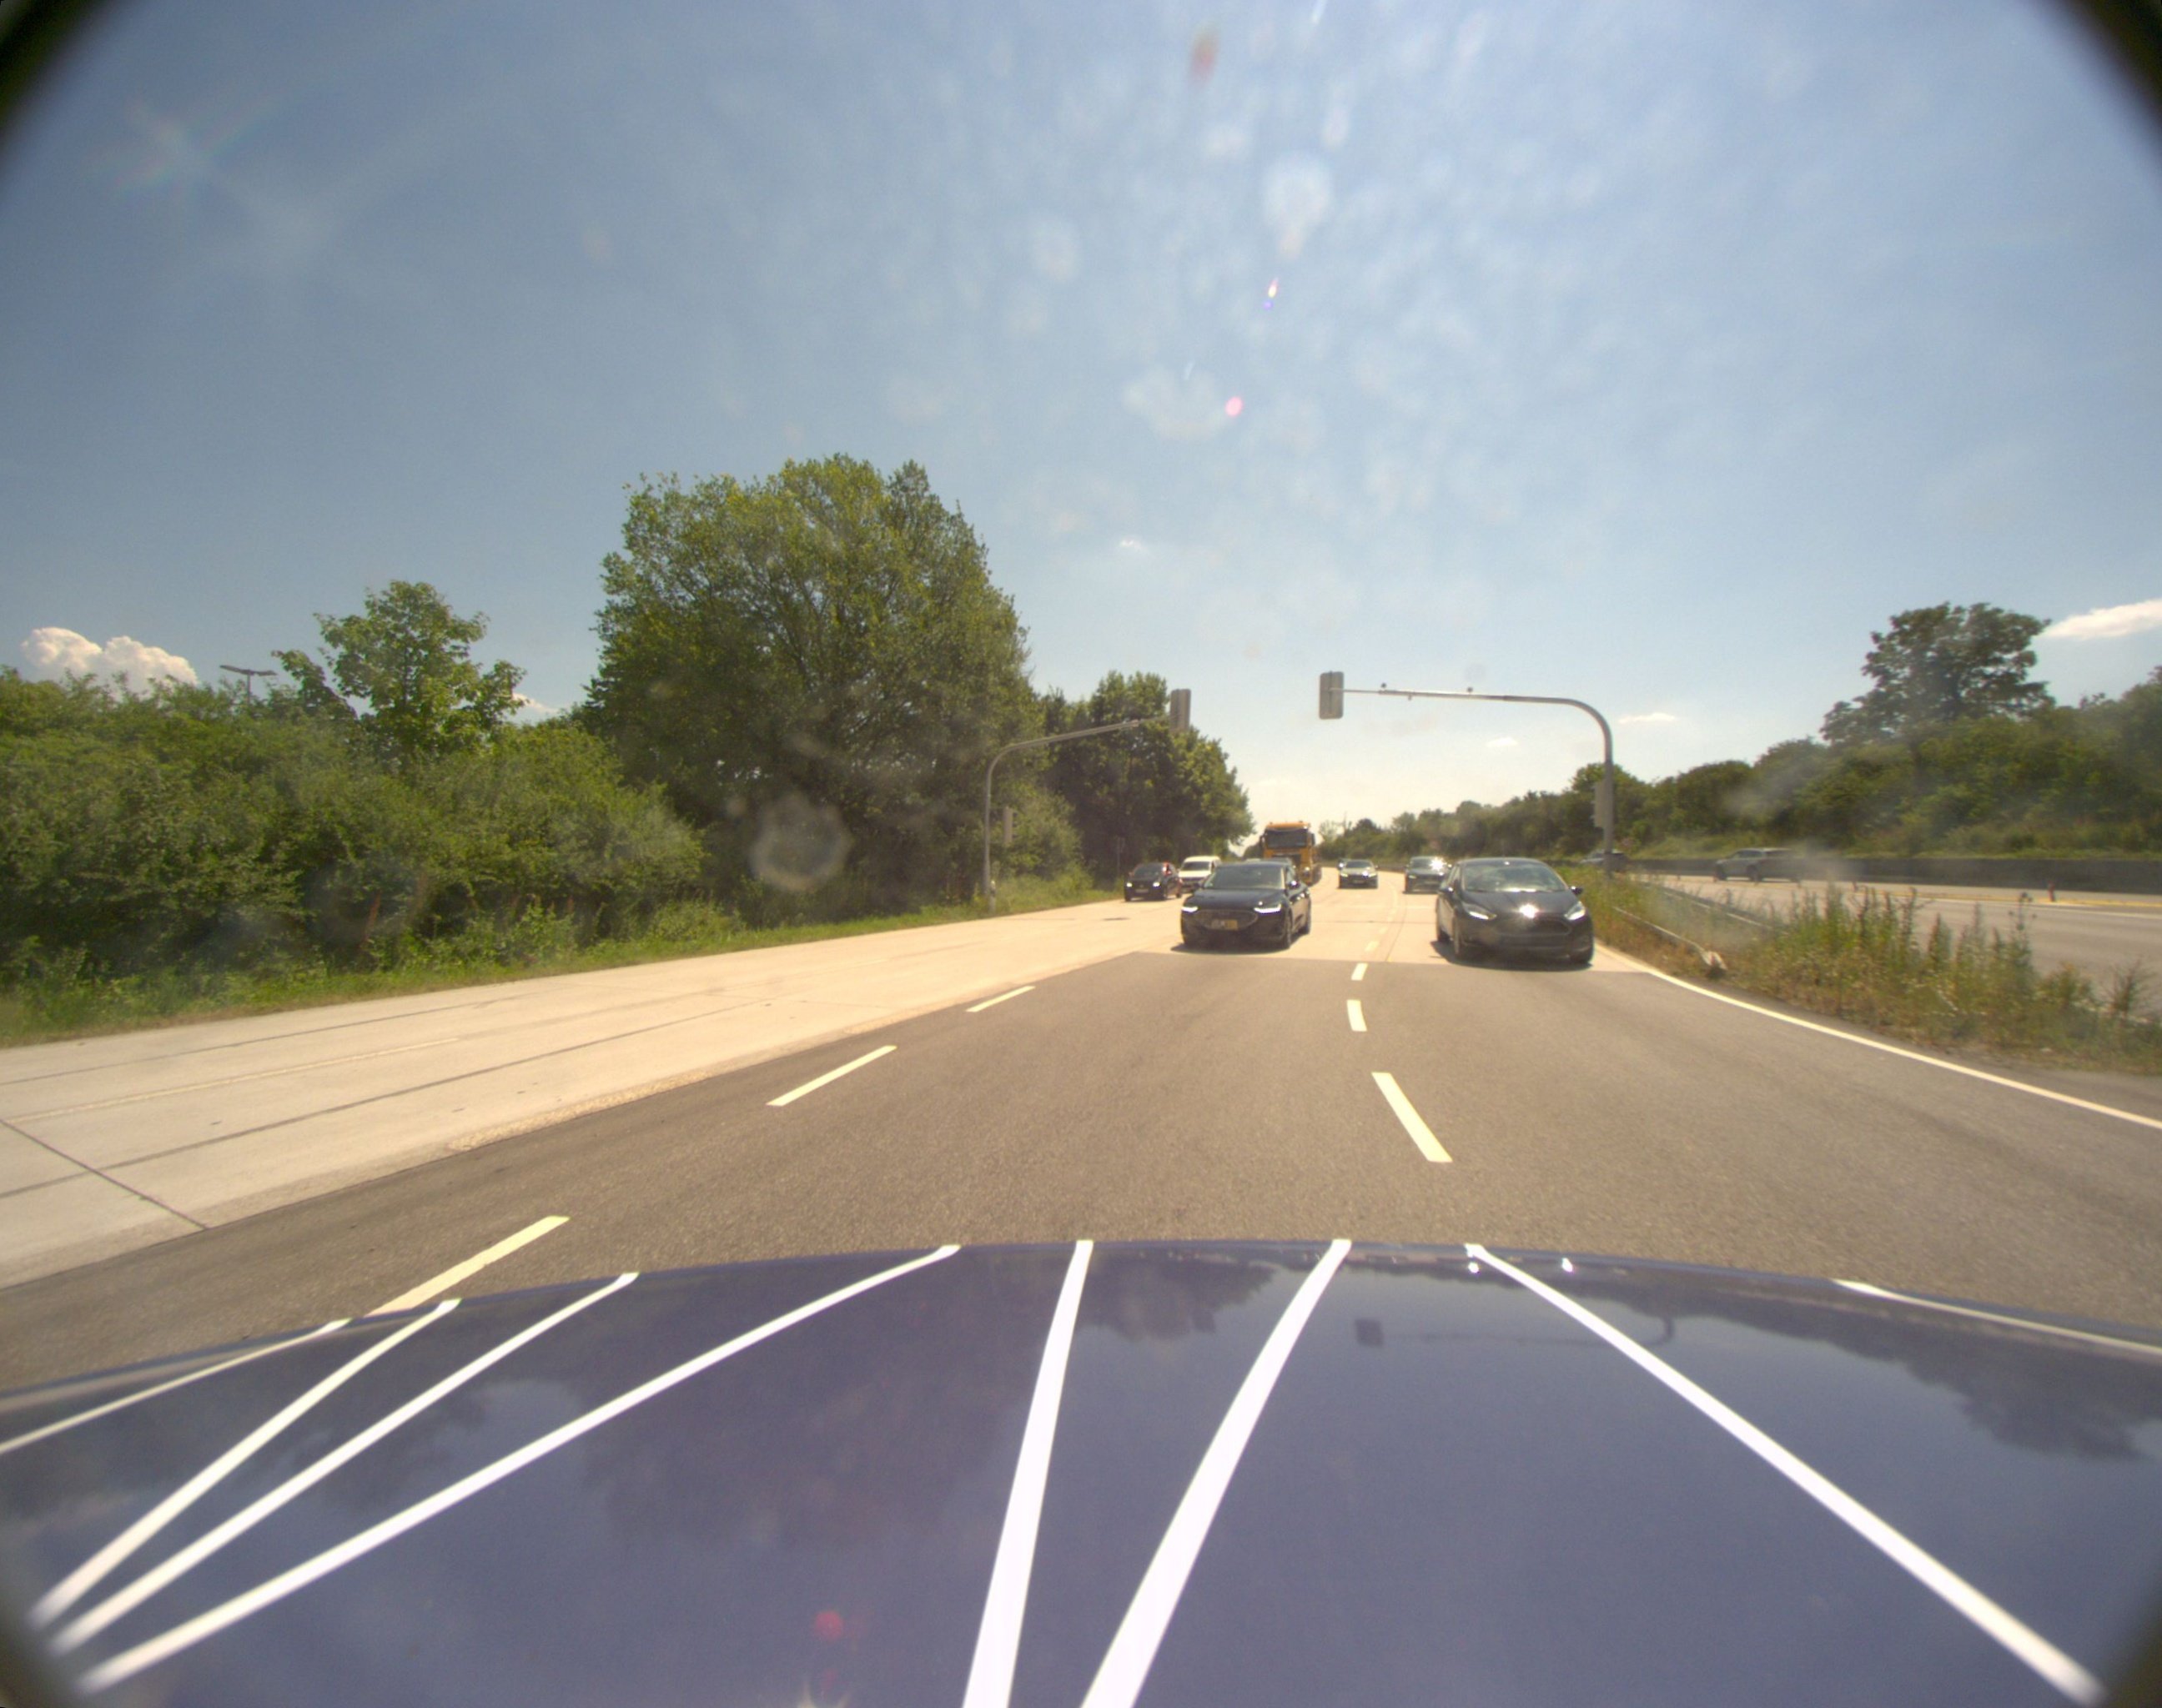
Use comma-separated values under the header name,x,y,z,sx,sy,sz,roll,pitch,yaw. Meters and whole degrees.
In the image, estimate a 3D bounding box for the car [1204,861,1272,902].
name,x,y,z,sx,sy,sz,roll,pitch,yaw
car,6.181,1.008,29.536,1.769,1.402,4.617,-1,0,22

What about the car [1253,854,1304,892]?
name,x,y,z,sx,sy,sz,roll,pitch,yaw
car,9.439,0.842,36.092,1.785,1.630,4.654,-1,0,21

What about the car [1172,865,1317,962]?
name,x,y,z,sx,sy,sz,roll,pitch,yaw
car,3.173,0.967,14.026,1.728,1.430,4.311,-1,0,24

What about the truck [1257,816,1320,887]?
name,x,y,z,sx,sy,sz,roll,pitch,yaw
truck,12.175,-0.115,44.111,3.017,3.750,7.480,-1,0,19

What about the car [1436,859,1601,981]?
name,x,y,z,sx,sy,sz,roll,pitch,yaw
car,6.508,0.862,11.709,1.624,1.476,4.006,-1,0,22

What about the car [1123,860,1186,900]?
name,x,y,z,sx,sy,sz,roll,pitch,yaw
car,3.081,1.029,31.199,1.769,1.500,3.656,-1,0,19

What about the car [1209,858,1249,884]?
name,x,y,z,sx,sy,sz,roll,pitch,yaw
car,9.056,1.023,46.238,1.769,1.453,4.370,-1,0,19

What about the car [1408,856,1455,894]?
name,x,y,z,sx,sy,sz,roll,pitch,yaw
car,14.939,0.856,32.526,1.703,1.456,4.006,-1,0,24

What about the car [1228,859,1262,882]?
name,x,y,z,sx,sy,sz,roll,pitch,yaw
car,11.261,1.081,51.858,1.770,1.453,4.604,-1,0,18

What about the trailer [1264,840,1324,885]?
name,x,y,z,sx,sy,sz,roll,pitch,yaw
trailer,14.896,0.505,52.074,3.030,2.578,16.380,-1,0,19

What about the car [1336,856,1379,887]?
name,x,y,z,sx,sy,sz,roll,pitch,yaw
car,14.185,0.874,39.112,1.888,1.456,4.005,-1,0,17

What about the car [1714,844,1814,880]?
name,x,y,z,sx,sy,sz,roll,pitch,yaw
car,33.676,0.384,37.643,1.996,1.682,4.663,-1,0,19

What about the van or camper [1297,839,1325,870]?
name,x,y,z,sx,sy,sz,roll,pitch,yaw
van or camper,20.196,0.005,66.557,2.065,2.558,5.916,-1,0,19

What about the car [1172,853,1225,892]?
name,x,y,z,sx,sy,sz,roll,pitch,yaw
car,6.092,0.893,38.907,1.769,1.797,4.799,-1,0,19

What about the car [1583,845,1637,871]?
name,x,y,z,sx,sy,sz,roll,pitch,yaw
car,38.559,0.284,55.490,1.996,1.762,4.864,-1,0,20
